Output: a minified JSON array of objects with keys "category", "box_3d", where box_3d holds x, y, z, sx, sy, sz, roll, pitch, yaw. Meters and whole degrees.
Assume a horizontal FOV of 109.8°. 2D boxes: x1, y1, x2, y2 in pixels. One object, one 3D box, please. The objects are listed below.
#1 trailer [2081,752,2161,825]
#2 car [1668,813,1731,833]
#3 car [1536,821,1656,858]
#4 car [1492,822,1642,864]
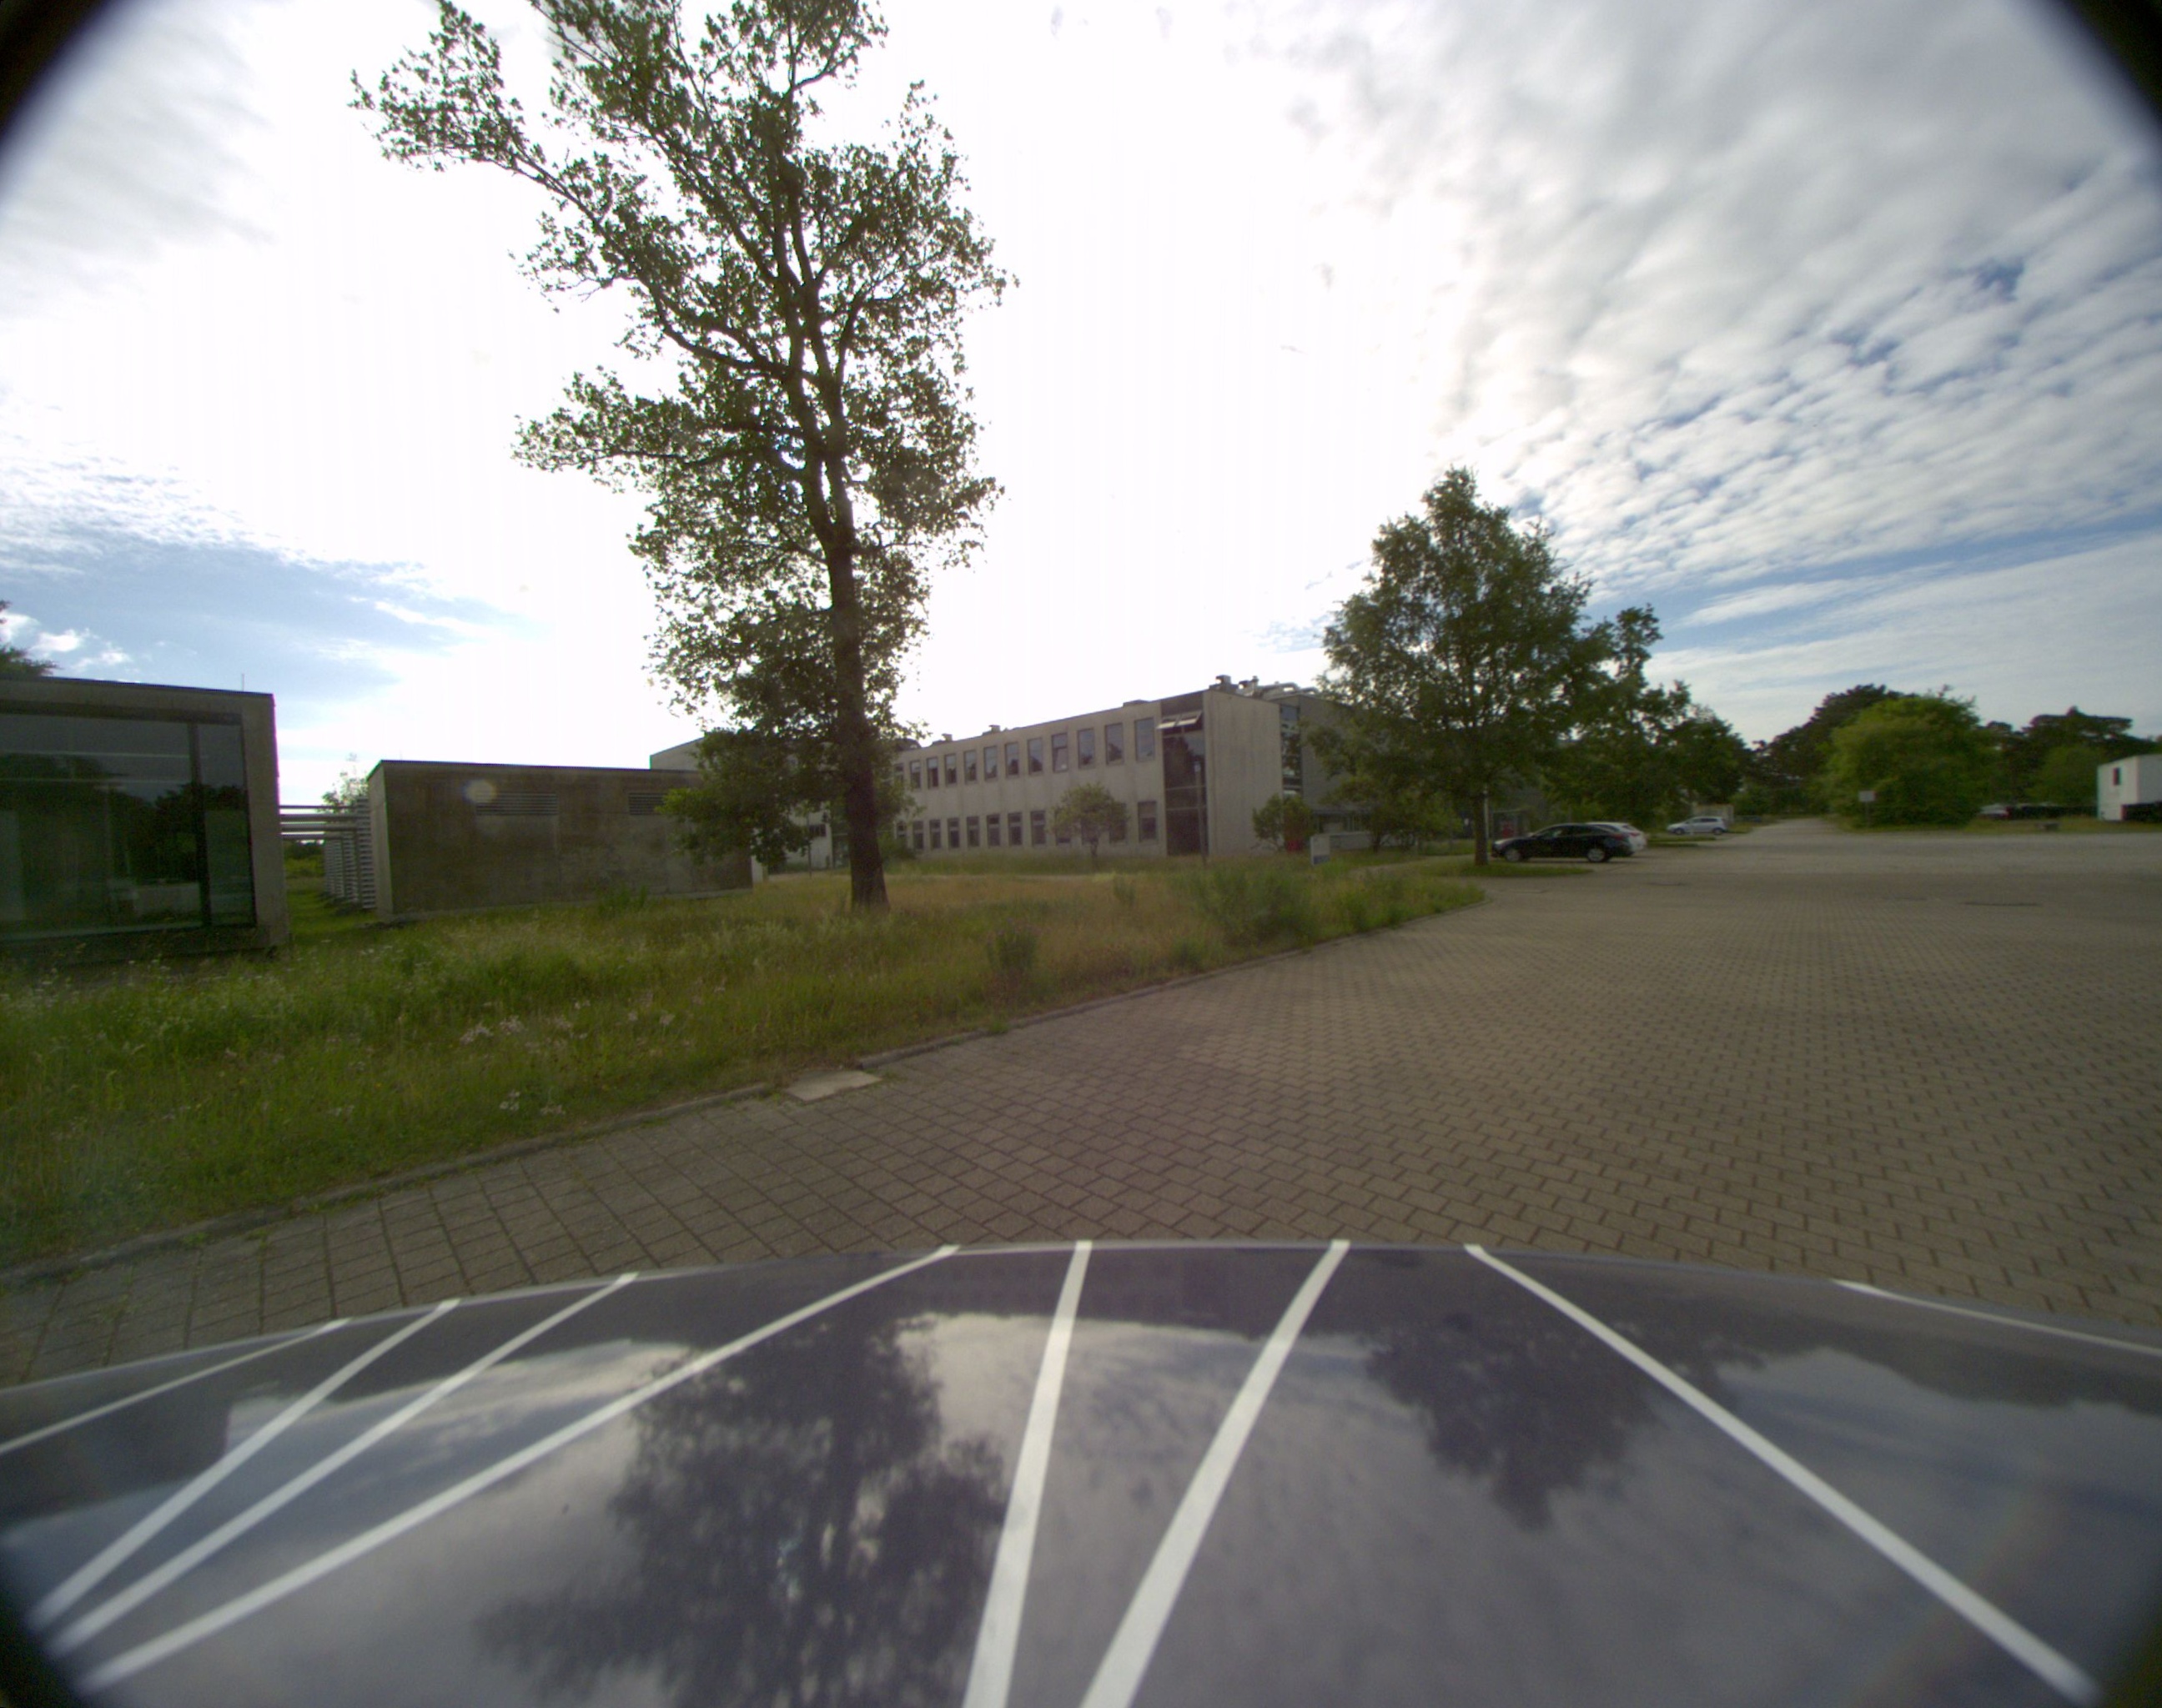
[{"category":"trailer","box_3d":[58.725,-3.591,42.035,10.797,3.641,2.870,-3,2,-44]},{"category":"car","box_3d":[53.737,-2.675,66.013,4.122,1.616,1.942,1,4,42]},{"category":"car","box_3d":[21.949,-0.584,32.438,3.977,1.458,1.886,0,2,44]},{"category":"car","box_3d":[18.230,-0.441,28.661,4.465,1.439,1.948,1,3,44]}]
